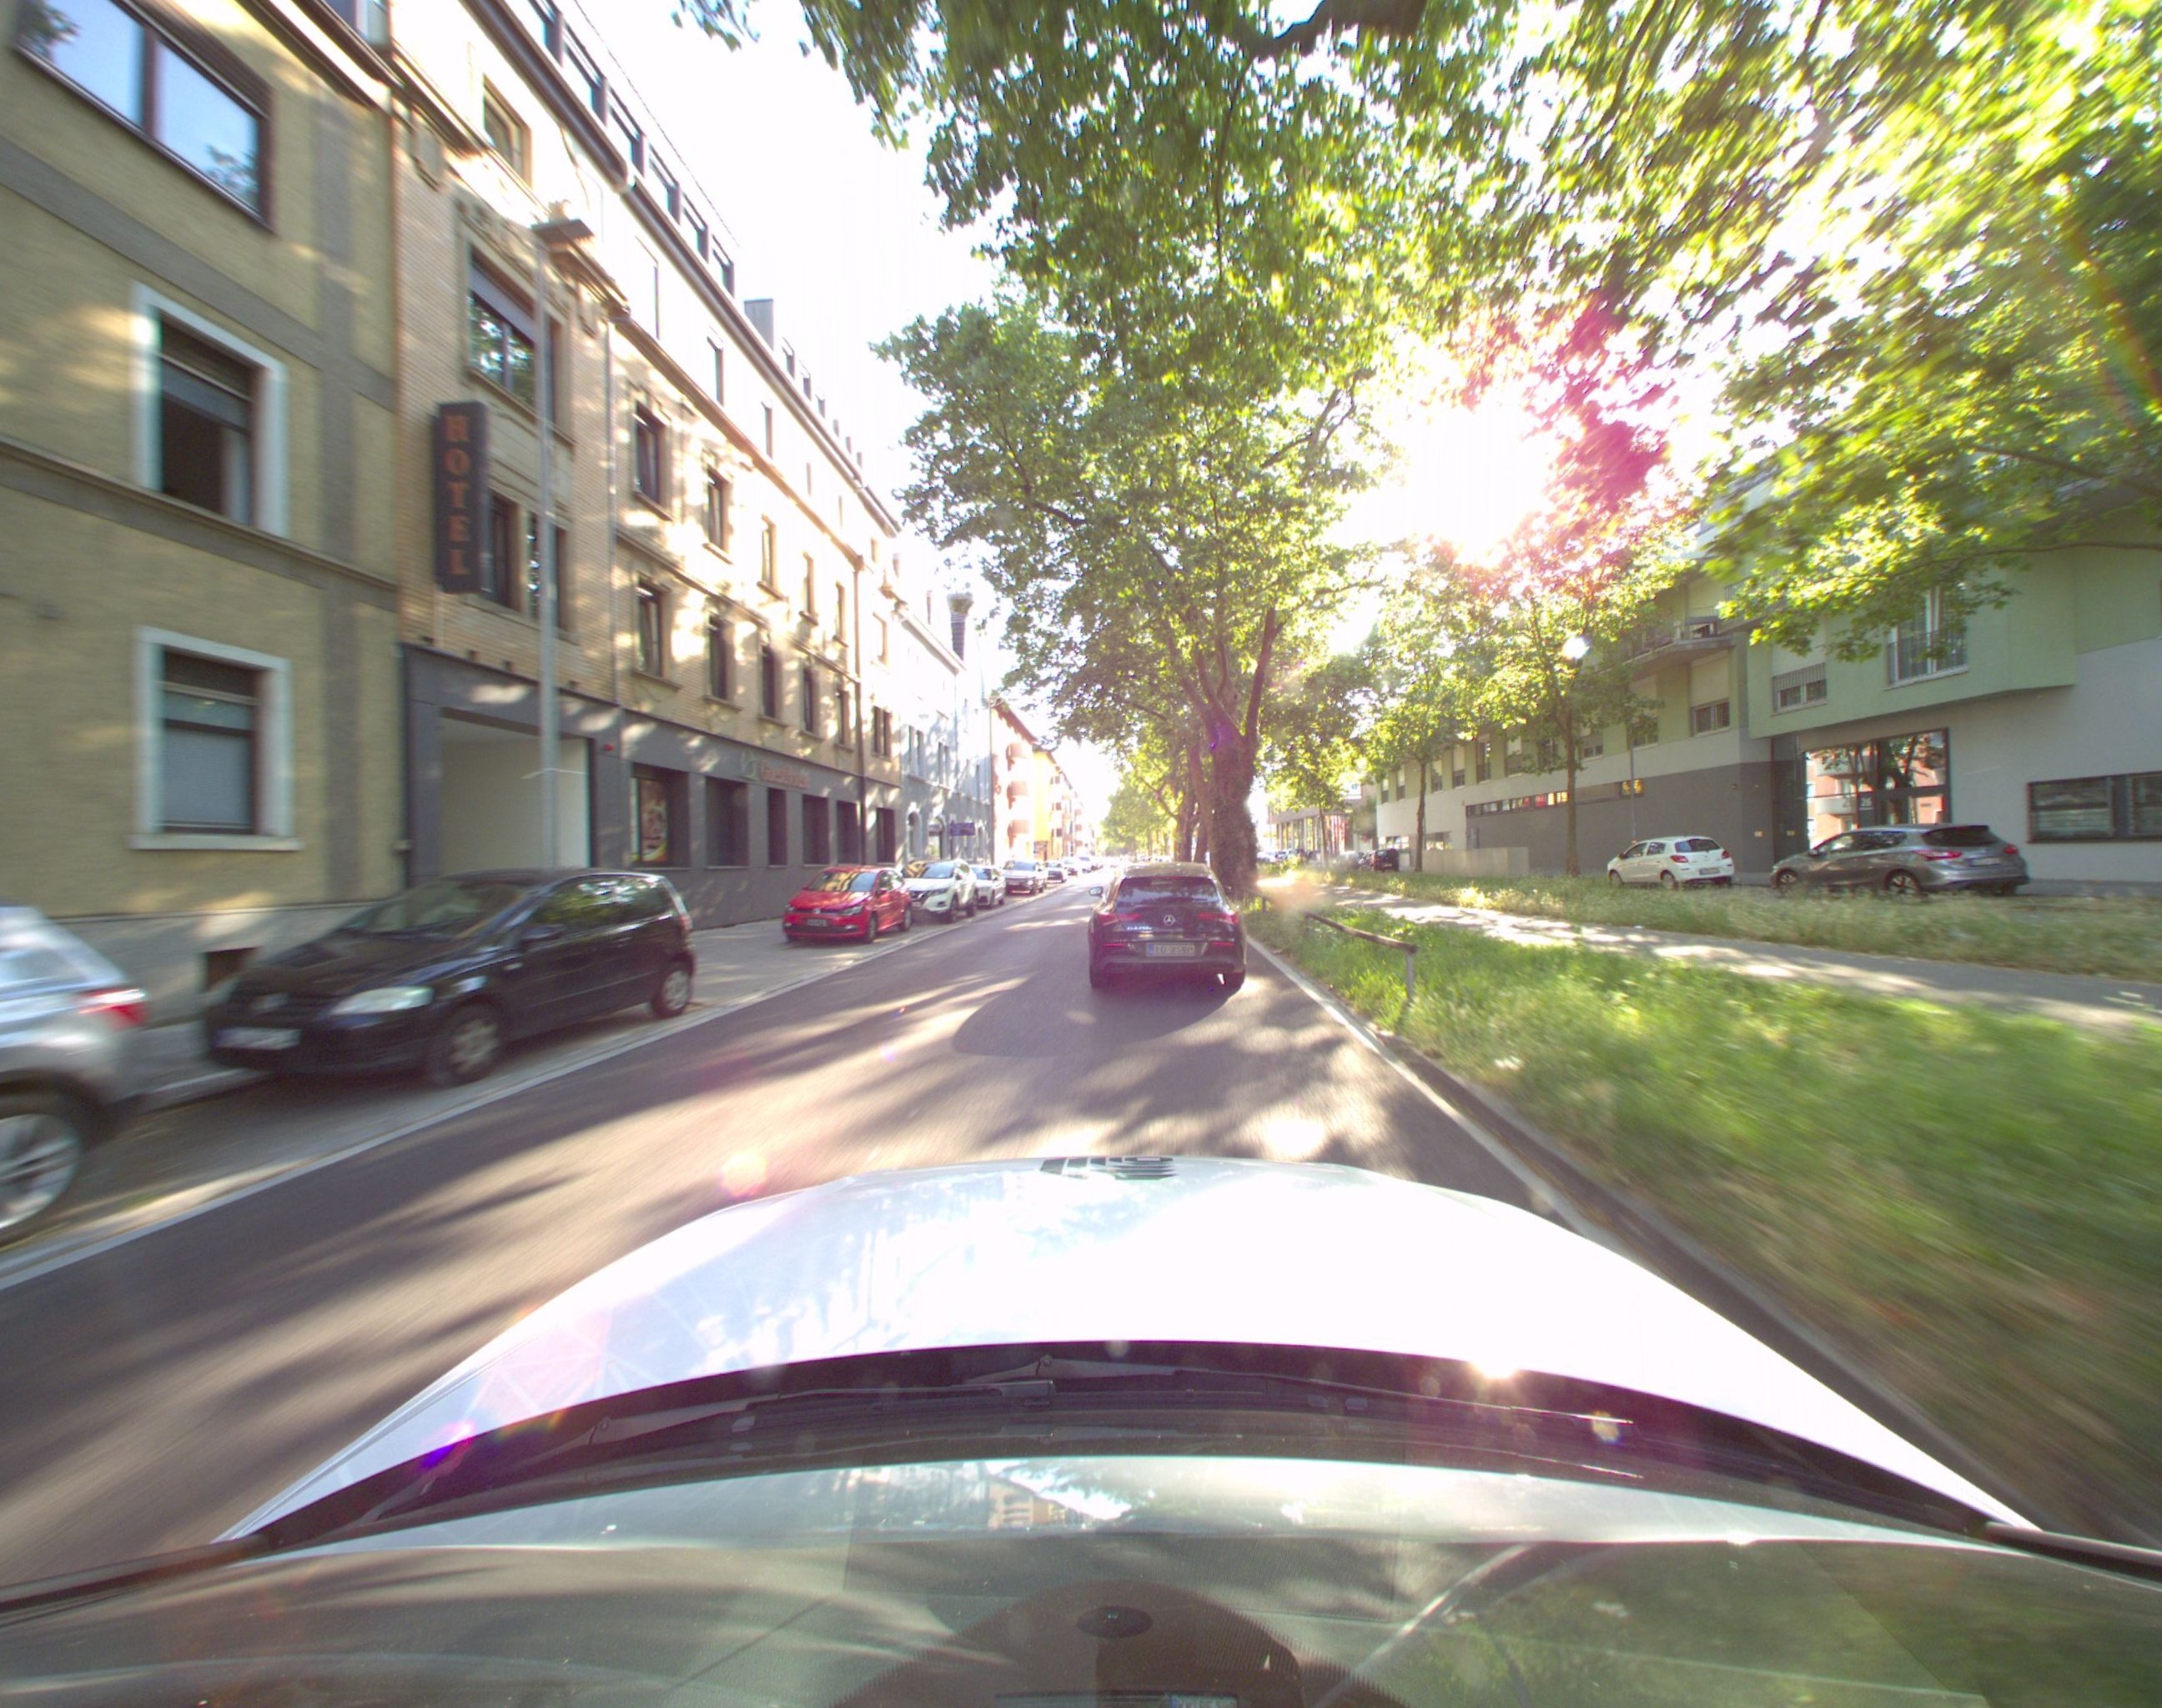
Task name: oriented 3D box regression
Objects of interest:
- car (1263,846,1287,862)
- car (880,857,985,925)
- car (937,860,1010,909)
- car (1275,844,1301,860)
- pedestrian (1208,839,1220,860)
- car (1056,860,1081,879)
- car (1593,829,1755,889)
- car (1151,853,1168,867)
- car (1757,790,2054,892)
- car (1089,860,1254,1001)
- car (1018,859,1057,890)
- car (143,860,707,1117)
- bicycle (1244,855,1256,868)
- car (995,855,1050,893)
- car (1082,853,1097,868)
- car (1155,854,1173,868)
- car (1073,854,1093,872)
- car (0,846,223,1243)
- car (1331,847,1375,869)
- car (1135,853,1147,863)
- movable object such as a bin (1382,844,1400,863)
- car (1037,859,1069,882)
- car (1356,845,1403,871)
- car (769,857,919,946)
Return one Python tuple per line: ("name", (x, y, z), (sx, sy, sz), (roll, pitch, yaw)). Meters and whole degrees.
("car", (22.208, -0.002, 93.379), (1.869, 1.733, 4.181), (-2, 0, 1))
("car", (-3.809, 0.896, 21.611), (1.670, 1.585, 4.205), (0, 0, 5))
("car", (-3.571, 0.986, 27.803), (1.670, 1.496, 3.877), (0, 0, 5))
("car", (23.584, -0.188, 93.087), (1.978, 1.733, 4.182), (-2, 0, 2))
("pedestrian", (11.732, -0.367, 71.640), (0.767, 1.761, 0.662), (-3, 0, -8))
("car", (-0.982, 1.238, 67.342), (1.670, 1.523, 4.026), (0, 0, 5))
("car", (17.377, 0.131, 24.181), (1.851, 1.543, 4.324), (-2, 0, 4))
("car", (9.446, 0.740, 98.151), (1.802, 1.539, 4.588), (-4, -1, 4))
("car", (16.620, -0.233, 16.806), (1.896, 1.771, 4.324), (-2, 0, 4))
("car", (0.983, 0.816, 10.547), (1.738, 1.443, 3.969), (0, 0, 1))
("car", (-2.464, 1.153, 47.107), (1.670, 1.641, 3.990), (0, 0, 5))
("car", (-5.145, 0.875, 7.140), (1.669, 1.605, 3.712), (0, 0, 7))
("bicycle", (14.377, 0.639, 69.348), (0.383, 1.003, 1.480), (-2, 0, -13))
("car", (-2.679, 0.893, 38.416), (1.899, 1.641, 4.583), (0, 0, 5))
("car", (1.057, 0.770, 100.812), (1.738, 1.787, 4.551), (0, 0, 2))
("car", (9.256, 0.754, 91.267), (1.629, 1.468, 4.023), (-3, -1, 2))
("car", (0.254, 0.921, 87.607), (1.726, 1.907, 5.216), (-1, 0, 5))
("car", (-5.545, 0.805, 2.238), (1.773, 1.673, 4.161), (0, 0, 5))
("car", (19.708, 0.258, 59.189), (1.852, 1.468, 4.126), (-2, 0, 2))
("car", (12.068, 0.862, 164.145), (1.987, 2.014, 3.998), (-1, -2, 0))
("movable object such as a bin", (24.530, -0.064, 64.517), (1.184, 1.463, 1.413), (-2, 0, 15))
("car", (-1.826, 1.056, 54.276), (1.670, 1.486, 3.606), (0, 0, 5))
("car", (19.217, 0.223, 52.557), (1.851, 1.552, 3.763), (-2, 0, 4))
("car", (-4.671, 0.856, 16.625), (1.670, 1.592, 3.761), (0, 0, 5))
